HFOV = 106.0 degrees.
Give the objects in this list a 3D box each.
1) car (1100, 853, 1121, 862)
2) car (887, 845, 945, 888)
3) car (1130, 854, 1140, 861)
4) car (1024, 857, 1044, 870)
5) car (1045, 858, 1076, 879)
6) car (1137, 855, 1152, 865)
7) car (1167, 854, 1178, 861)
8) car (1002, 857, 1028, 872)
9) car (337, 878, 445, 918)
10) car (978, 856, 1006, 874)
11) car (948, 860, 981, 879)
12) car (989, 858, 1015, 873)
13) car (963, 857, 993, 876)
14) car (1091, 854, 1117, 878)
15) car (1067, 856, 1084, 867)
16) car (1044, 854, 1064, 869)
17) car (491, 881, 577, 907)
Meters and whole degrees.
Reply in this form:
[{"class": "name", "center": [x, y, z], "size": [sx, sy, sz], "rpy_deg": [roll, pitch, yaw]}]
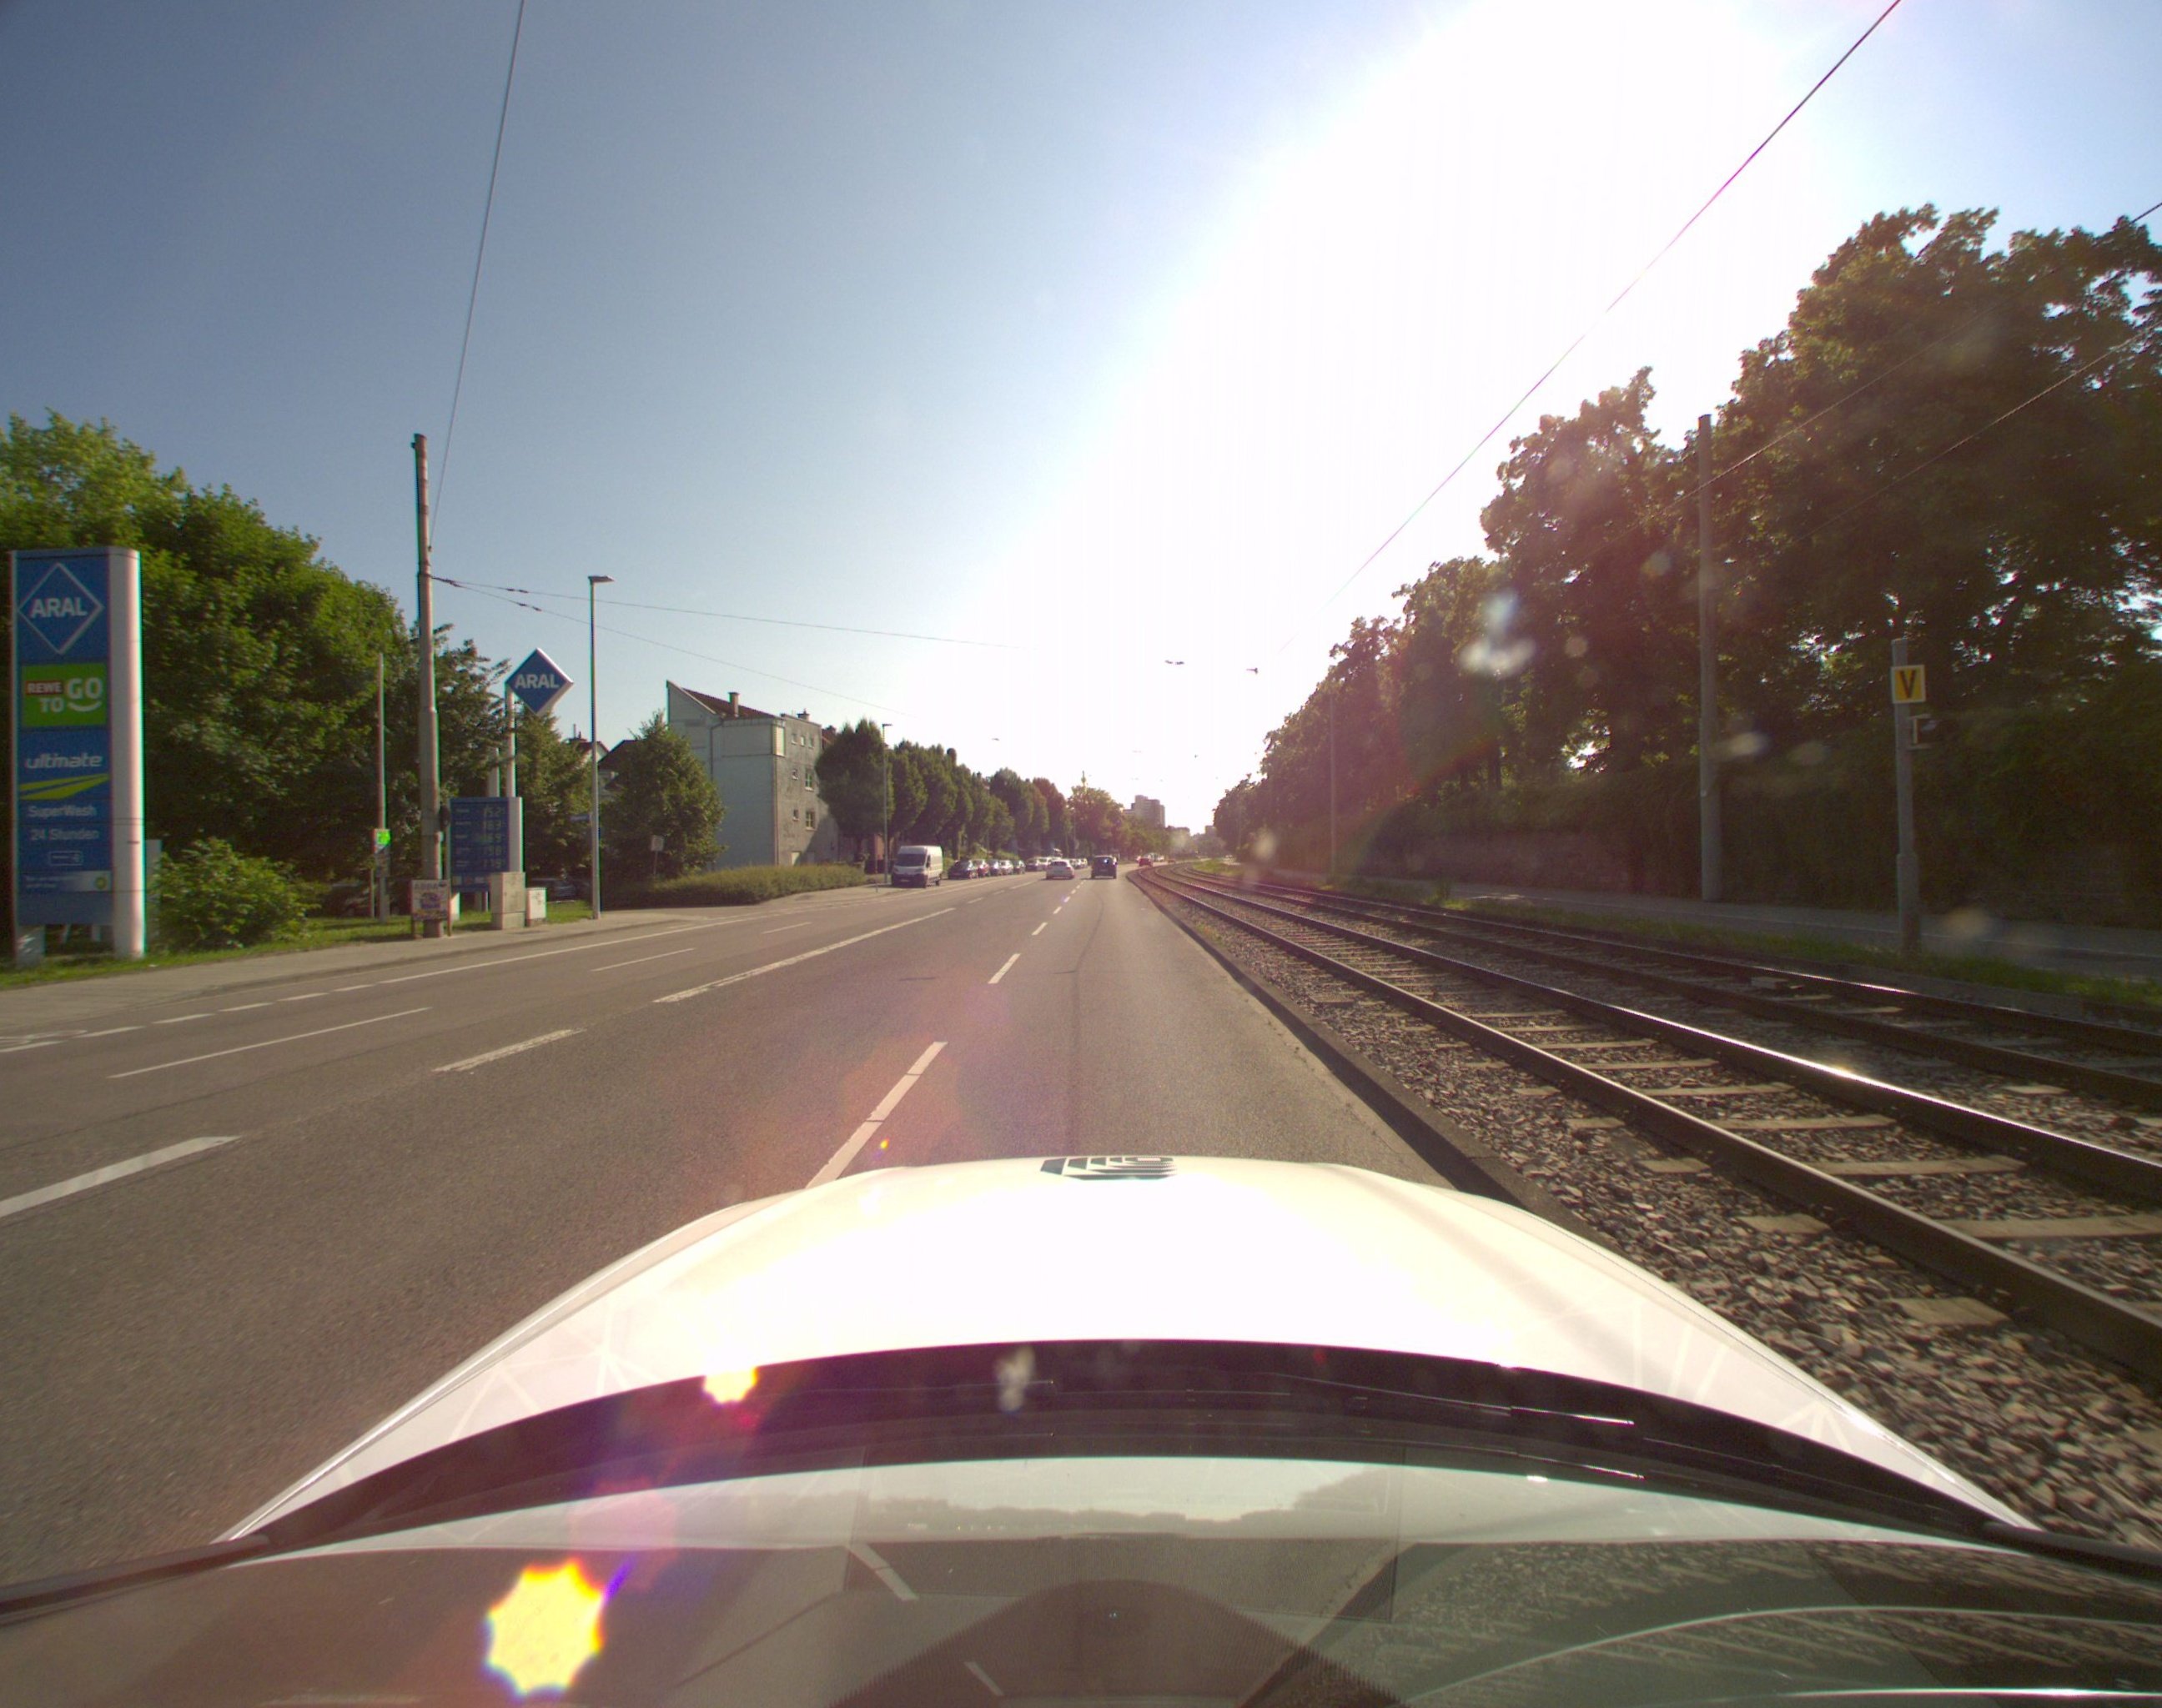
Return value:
[{"class": "car", "center": [8.111, 0.898, 223.818], "size": [5.341, 2.423, 2.094], "rpy_deg": [-2, 0, 11]}, {"class": "car", "center": [-10.027, 0.708, 50.110], "size": [2.144, 2.457, 6.185], "rpy_deg": [1, 0, 1]}, {"class": "car", "center": [13.171, 0.942, 199.368], "size": [1.720, 1.658, 4.014], "rpy_deg": [-2, 0, 12]}, {"class": "car", "center": [-5.712, 1.116, 98.764], "size": [1.606, 1.466, 4.068], "rpy_deg": [0, 0, 8]}, {"class": "car", "center": [-1.402, 0.980, 57.109], "size": [1.857, 1.348, 4.002], "rpy_deg": [-1, 0, 2]}, {"class": "car", "center": [9.540, 0.871, 121.992], "size": [1.799, 1.449, 4.014], "rpy_deg": [0, 0, 12]}, {"class": "car", "center": [19.441, 0.783, 172.814], "size": [1.798, 1.449, 4.016], "rpy_deg": [0, 0, 14]}, {"class": "car", "center": [-7.060, 1.134, 87.466], "size": [1.856, 1.544, 4.919], "rpy_deg": [1, 0, 7]}, {"class": "car", "center": [-31.256, 1.978, 36.923], "size": [3.956, 1.697, 1.780], "rpy_deg": [-2, -3, 16]}, {"class": "car", "center": [-8.303, 1.040, 76.288], "size": [1.753, 1.574, 4.306], "rpy_deg": [1, 0, 6]}, {"class": "car", "center": [-9.283, 1.222, 64.993], "size": [1.645, 1.424, 4.717], "rpy_deg": [-1, 0, 4]}, {"class": "car", "center": [-7.898, 1.153, 81.626], "size": [1.704, 1.471, 4.851], "rpy_deg": [0, -1, 5]}, {"class": "car", "center": [-8.916, 1.105, 70.679], "size": [1.754, 1.574, 4.166], "rpy_deg": [-1, -1, 4]}, {"class": "car", "center": [1.705, 0.855, 58.518], "size": [1.804, 1.645, 4.002], "rpy_deg": [-1, 0, 2]}, {"class": "car", "center": [-0.773, 1.153, 124.411], "size": [1.752, 1.539, 3.993], "rpy_deg": [3, 0, 11]}, {"class": "car", "center": [-3.677, 0.961, 110.232], "size": [1.752, 1.845, 4.592], "rpy_deg": [3, 0, 9]}, {"class": "car", "center": [-29.778, 2.149, 44.373], "size": [3.756, 1.268, 1.751], "rpy_deg": [-2, 0, 14]}]
